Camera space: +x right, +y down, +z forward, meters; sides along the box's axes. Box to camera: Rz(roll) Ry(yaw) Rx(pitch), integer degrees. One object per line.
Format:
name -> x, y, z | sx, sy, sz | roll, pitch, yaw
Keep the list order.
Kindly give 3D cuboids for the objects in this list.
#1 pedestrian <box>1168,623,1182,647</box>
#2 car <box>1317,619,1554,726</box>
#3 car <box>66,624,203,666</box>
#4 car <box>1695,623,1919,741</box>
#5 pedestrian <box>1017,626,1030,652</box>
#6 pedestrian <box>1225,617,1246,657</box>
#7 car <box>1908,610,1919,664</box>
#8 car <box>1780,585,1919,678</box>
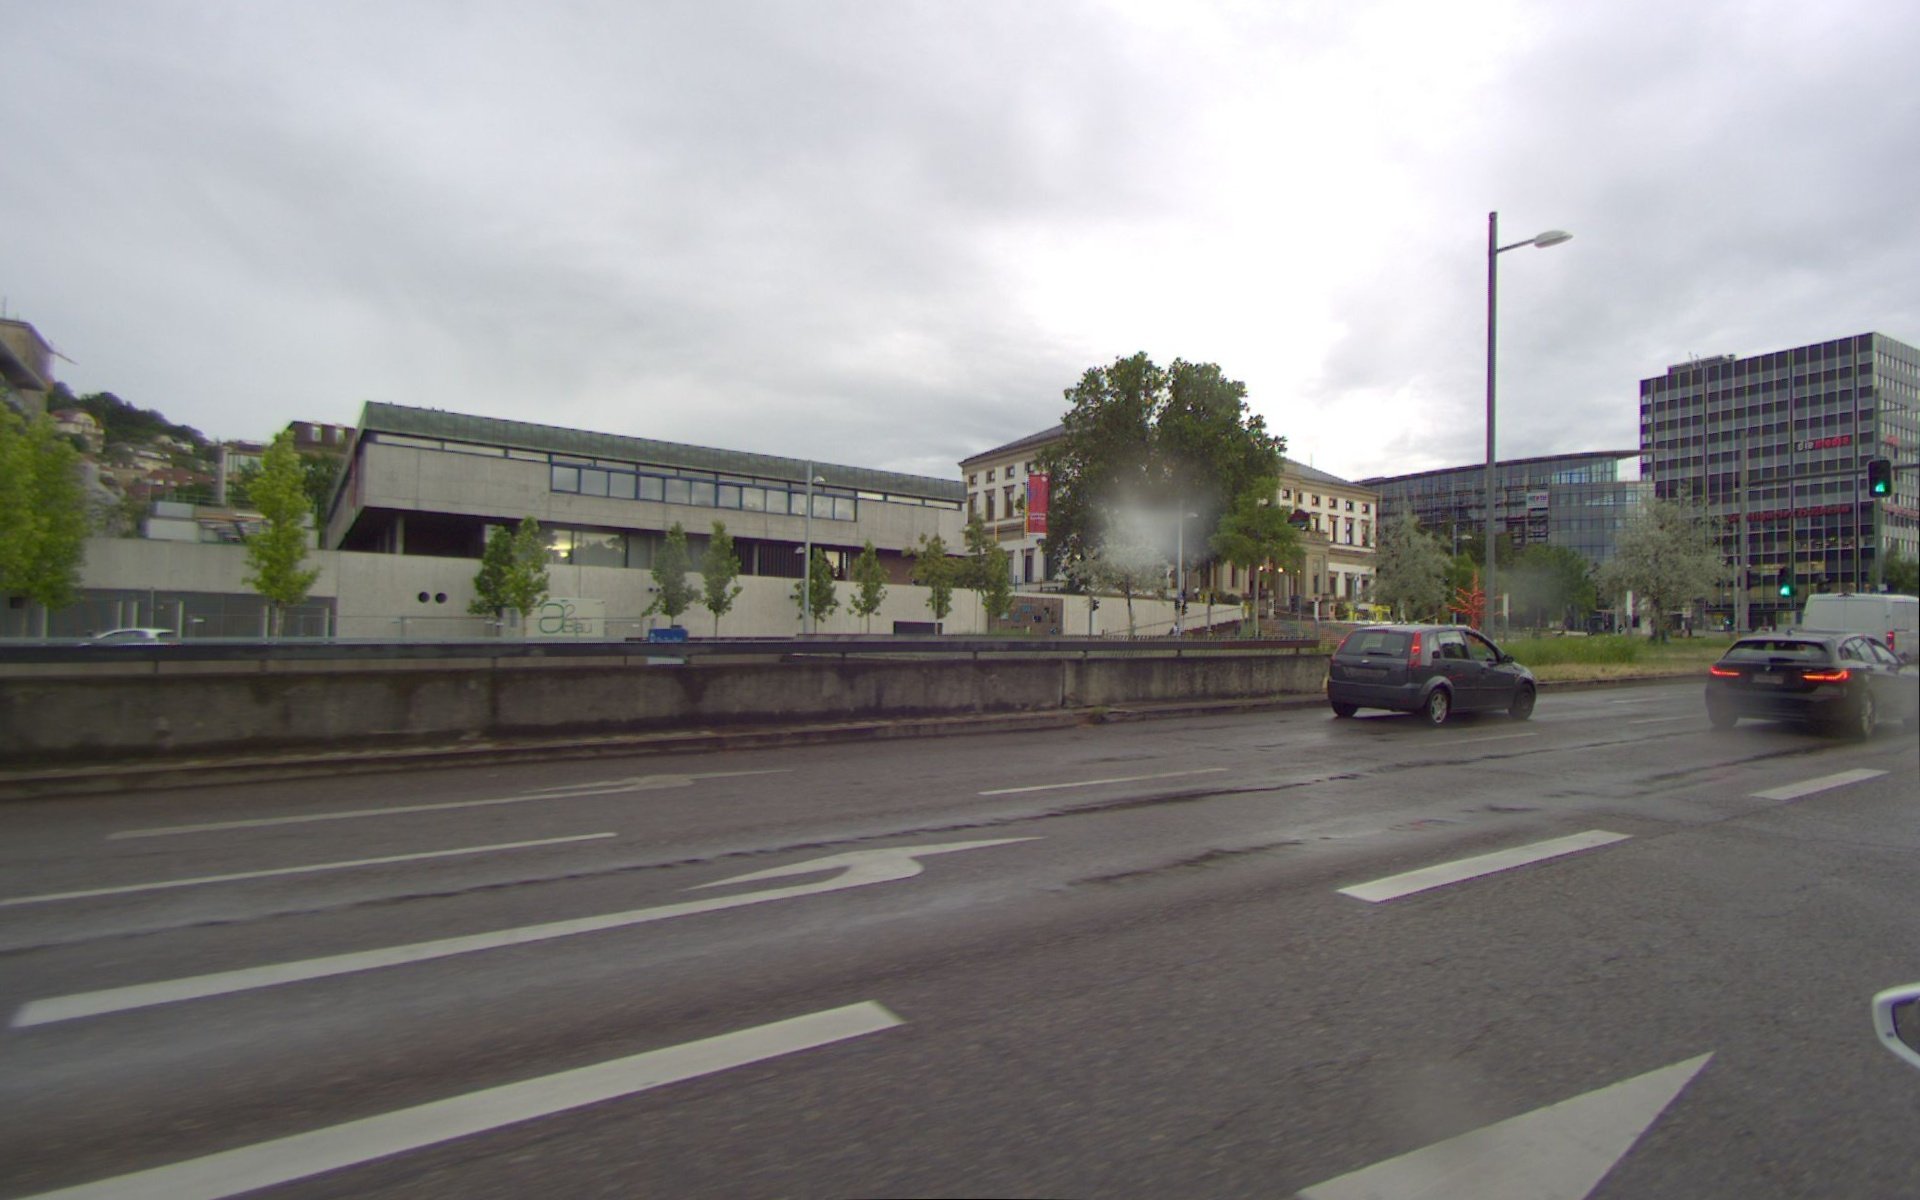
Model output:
pedestrian -> 13.376, 2.171, 62.581 | 0.625, 1.441, 0.490 | 3, -1, -26
car -> 7.381, 1.096, 15.476 | 3.862, 1.434, 1.533 | 3, -2, -34
car -> -24.690, 1.356, 30.166 | 2.990, 1.129, 1.431 | 3, -2, -34
car -> 12.800, 1.113, 14.983 | 4.180, 1.491, 1.742 | 1, -1, -35
pedestrian -> 3.506, 2.160, 55.435 | 0.566, 1.401, 0.468 | 2, -1, -9
pedestrian -> 14.984, 2.011, 54.632 | 0.716, 2.120, 0.765 | -4, 2, -23
car -> 32.427, 1.280, 32.901 | 3.111, 1.729, 1.454 | 3, -2, -36
car -> 25.062, 0.914, 27.815 | 4.954, 2.344, 2.279 | 3, -2, -34
